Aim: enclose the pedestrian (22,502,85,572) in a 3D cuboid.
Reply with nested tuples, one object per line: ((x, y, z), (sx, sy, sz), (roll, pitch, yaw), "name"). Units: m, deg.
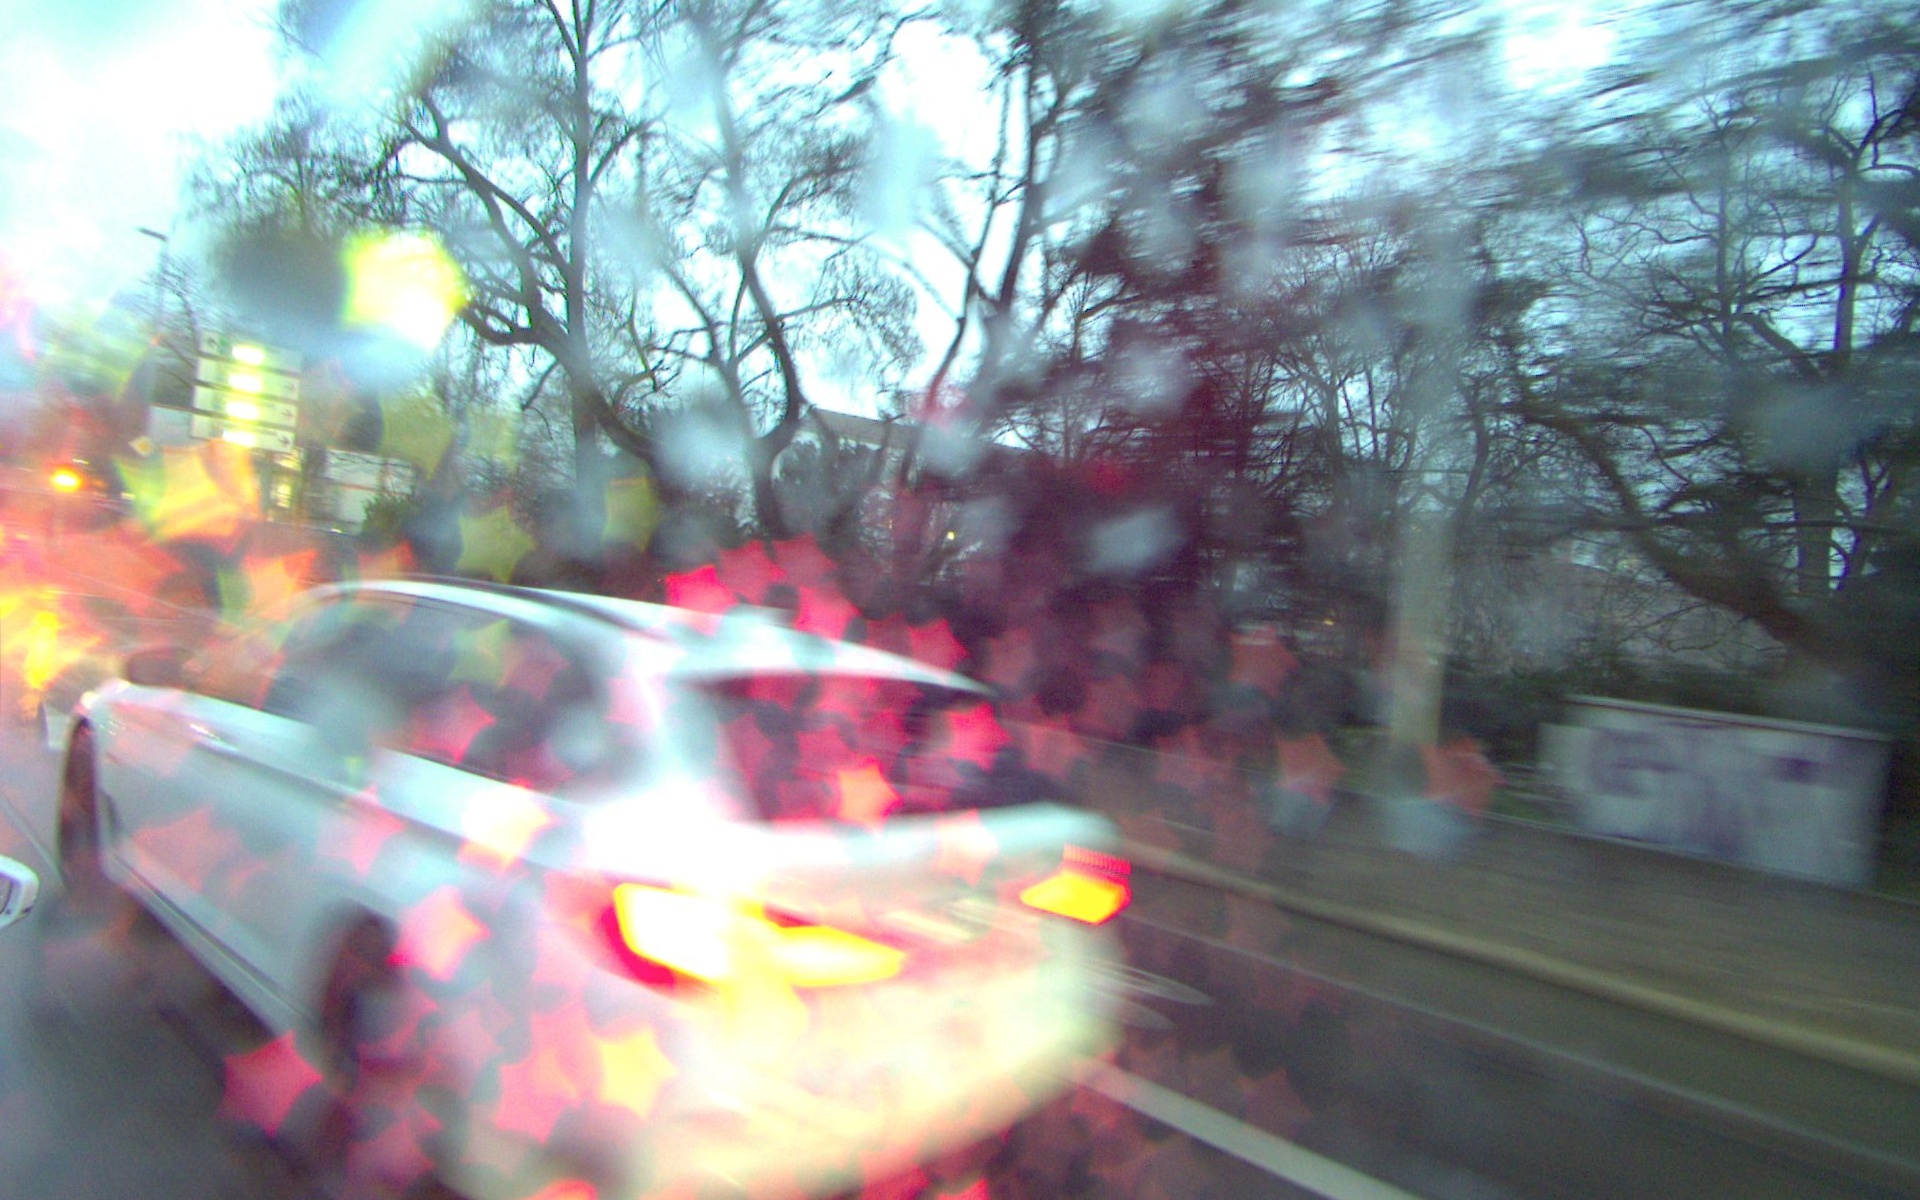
((-29.046, -2.011, 32.240), (0.988, 2.038, 0.962), (7, 0, 17), "pedestrian")

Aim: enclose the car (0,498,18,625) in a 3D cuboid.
((-13.607, -0.695, 12.798), (3.839, 1.529, 1.799), (6, -1, 40), "car")

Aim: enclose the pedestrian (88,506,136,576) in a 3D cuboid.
((-26.611, -1.855, 31.562), (0.956, 2.038, 0.995), (7, 0, -44), "pedestrian")

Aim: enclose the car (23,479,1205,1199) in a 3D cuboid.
((-1.798, 0.513, 3.835), (4.866, 1.575, 1.861), (6, -1, 39), "car")
